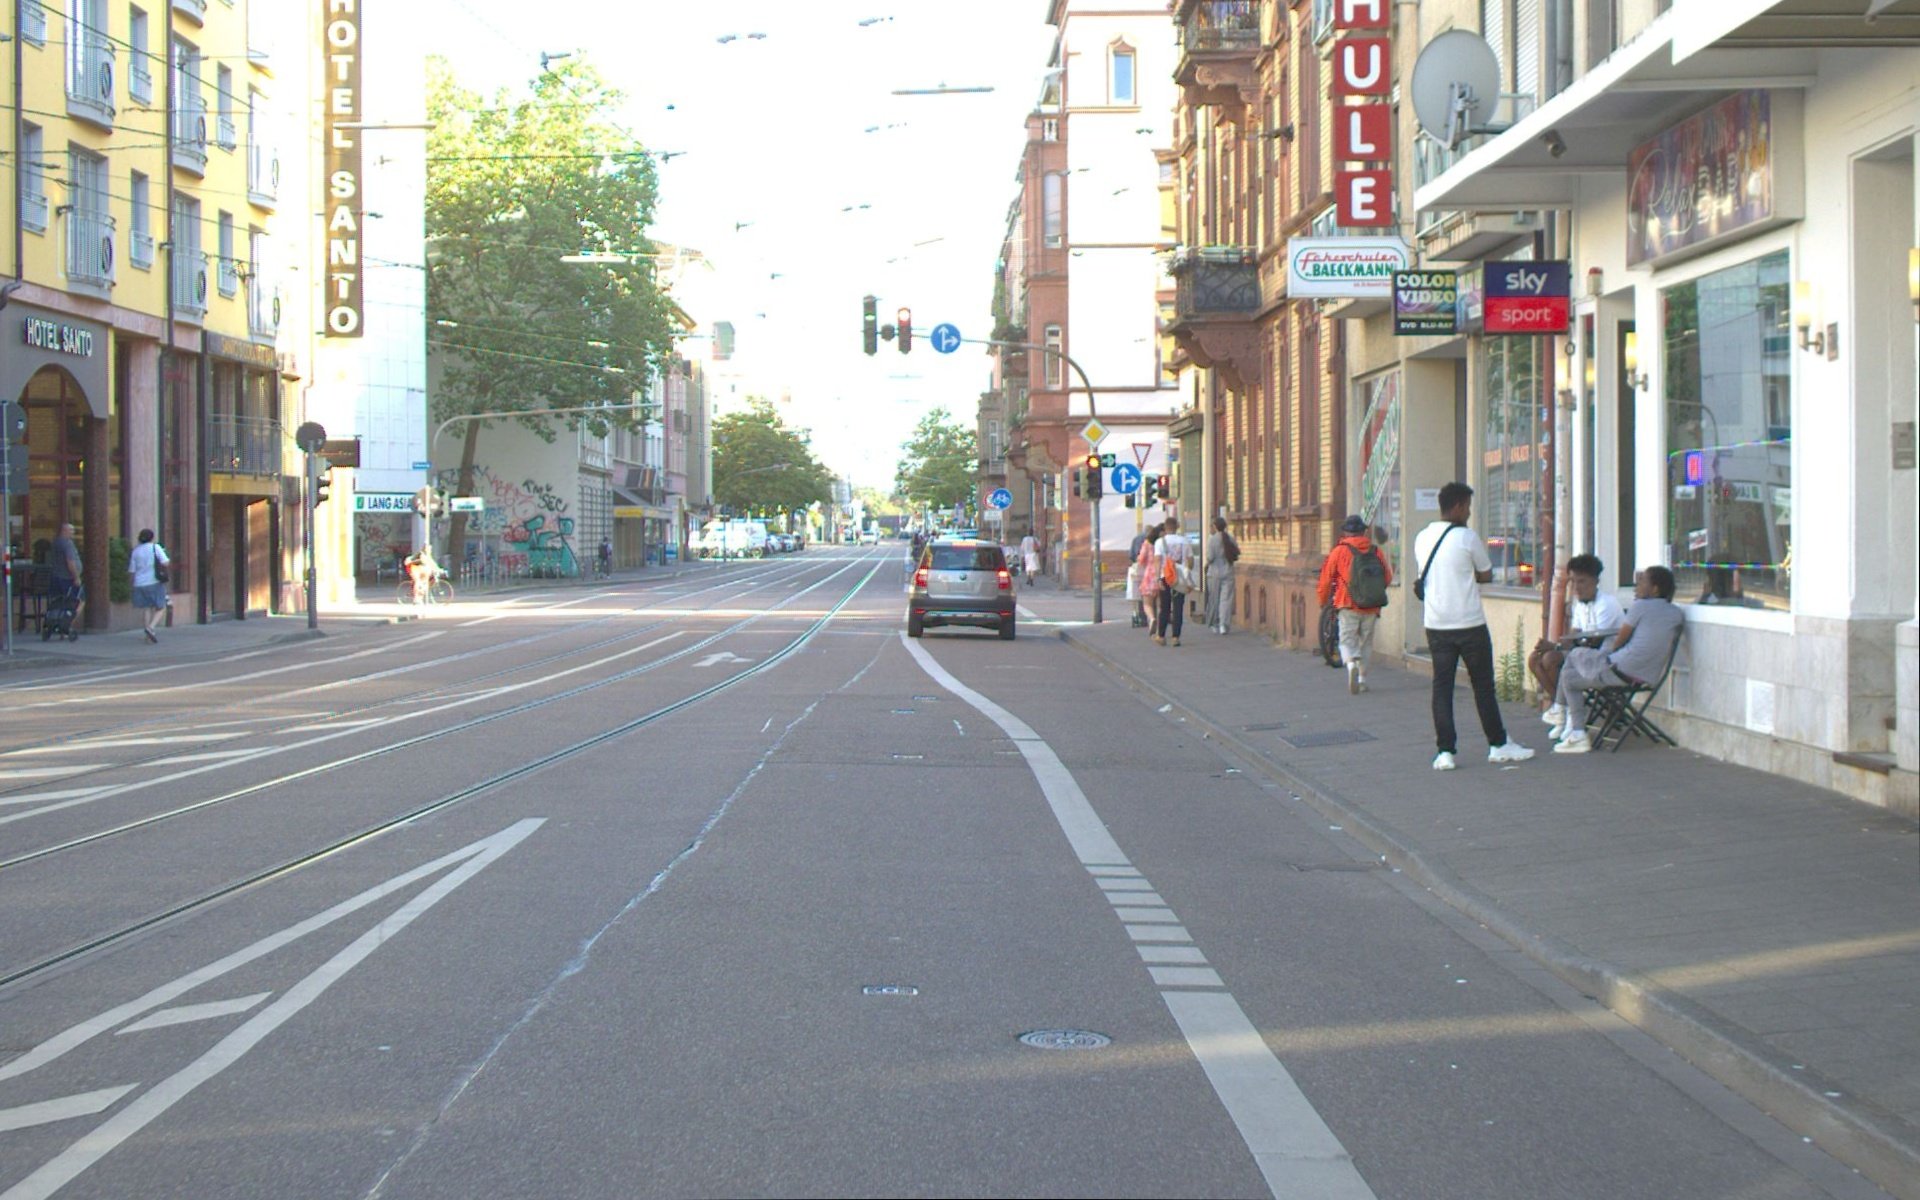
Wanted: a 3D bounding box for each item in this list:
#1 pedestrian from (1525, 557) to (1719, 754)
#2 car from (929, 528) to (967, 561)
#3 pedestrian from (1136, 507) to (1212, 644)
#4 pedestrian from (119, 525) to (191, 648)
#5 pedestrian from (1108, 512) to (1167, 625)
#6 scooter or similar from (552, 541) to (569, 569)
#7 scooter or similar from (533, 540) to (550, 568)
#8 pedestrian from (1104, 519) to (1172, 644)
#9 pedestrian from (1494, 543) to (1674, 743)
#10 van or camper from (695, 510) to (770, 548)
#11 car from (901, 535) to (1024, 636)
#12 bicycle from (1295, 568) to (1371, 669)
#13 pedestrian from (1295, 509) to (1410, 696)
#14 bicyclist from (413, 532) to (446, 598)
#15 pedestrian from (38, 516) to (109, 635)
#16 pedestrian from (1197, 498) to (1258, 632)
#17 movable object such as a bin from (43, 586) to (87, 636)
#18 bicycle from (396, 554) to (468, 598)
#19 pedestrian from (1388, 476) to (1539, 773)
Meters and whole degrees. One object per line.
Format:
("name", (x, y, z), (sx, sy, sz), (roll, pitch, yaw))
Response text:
("pedestrian", (4.272, 0.350, 22.232), (0.704, 1.170, 1.016), (-7, 2, -19))
("car", (-0.614, -2.927, 180.529), (1.950, 1.678, 4.000), (0, 1, 1))
("pedestrian", (2.941, -0.350, 47.290), (0.805, 1.793, 1.092), (-4, 2, -2))
("pedestrian", (-12.443, -0.216, 53.157), (0.751, 1.812, 1.046), (4, 2, -1))
("pedestrian", (2.933, -0.523, 56.907), (0.805, 1.793, 0.761), (-4, 2, 0))
("scooter or similar", (-15.295, -1.725, 131.593), (0.516, 1.053, 1.478), (0, 1, -3))
("scooter or similar", (-16.004, -1.771, 131.551), (0.516, 1.042, 1.478), (0, 1, -3))
("pedestrian", (2.640, -0.283, 51.087), (0.805, 1.793, 0.762), (-4, 2, -2))
("pedestrian", (4.234, 0.292, 23.317), (0.828, 1.251, 0.707), (-7, 2, -35))
("van or camper", (-15.224, -4.748, 230.389), (4.634, 2.554, 2.000), (0, 1, -31))
("car", (0.007, -0.276, 57.927), (1.993, 1.612, 4.000), (0, 1, -1))
("bicycle", (4.196, 0.194, 38.802), (0.555, 1.057, 2.311), (-3, 1, 0))
("pedestrian", (3.614, 0.011, 31.698), (0.798, 1.622, 0.826), (-6, 2, 0))
("bicyclist", (-13.241, -0.872, 85.799), (0.739, 1.628, 0.608), (2, 0, -12))
("pedestrian", (-13.647, -0.379, 52.941), (0.797, 1.765, 0.749), (4, 2, -1))
("pedestrian", (3.919, -0.519, 50.433), (0.690, 1.902, 0.670), (-4, 2, -2))
("movable object such as a bin", (-13.592, 0.162, 52.217), (0.383, 0.714, 0.841), (4, 2, 1))
("bicycle", (-13.184, -0.594, 85.794), (1.714, 1.031, 0.599), (2, 0, -11))
("pedestrian", (3.237, 0.150, 22.059), (0.705, 1.806, 0.679), (-6, 2, 15))
